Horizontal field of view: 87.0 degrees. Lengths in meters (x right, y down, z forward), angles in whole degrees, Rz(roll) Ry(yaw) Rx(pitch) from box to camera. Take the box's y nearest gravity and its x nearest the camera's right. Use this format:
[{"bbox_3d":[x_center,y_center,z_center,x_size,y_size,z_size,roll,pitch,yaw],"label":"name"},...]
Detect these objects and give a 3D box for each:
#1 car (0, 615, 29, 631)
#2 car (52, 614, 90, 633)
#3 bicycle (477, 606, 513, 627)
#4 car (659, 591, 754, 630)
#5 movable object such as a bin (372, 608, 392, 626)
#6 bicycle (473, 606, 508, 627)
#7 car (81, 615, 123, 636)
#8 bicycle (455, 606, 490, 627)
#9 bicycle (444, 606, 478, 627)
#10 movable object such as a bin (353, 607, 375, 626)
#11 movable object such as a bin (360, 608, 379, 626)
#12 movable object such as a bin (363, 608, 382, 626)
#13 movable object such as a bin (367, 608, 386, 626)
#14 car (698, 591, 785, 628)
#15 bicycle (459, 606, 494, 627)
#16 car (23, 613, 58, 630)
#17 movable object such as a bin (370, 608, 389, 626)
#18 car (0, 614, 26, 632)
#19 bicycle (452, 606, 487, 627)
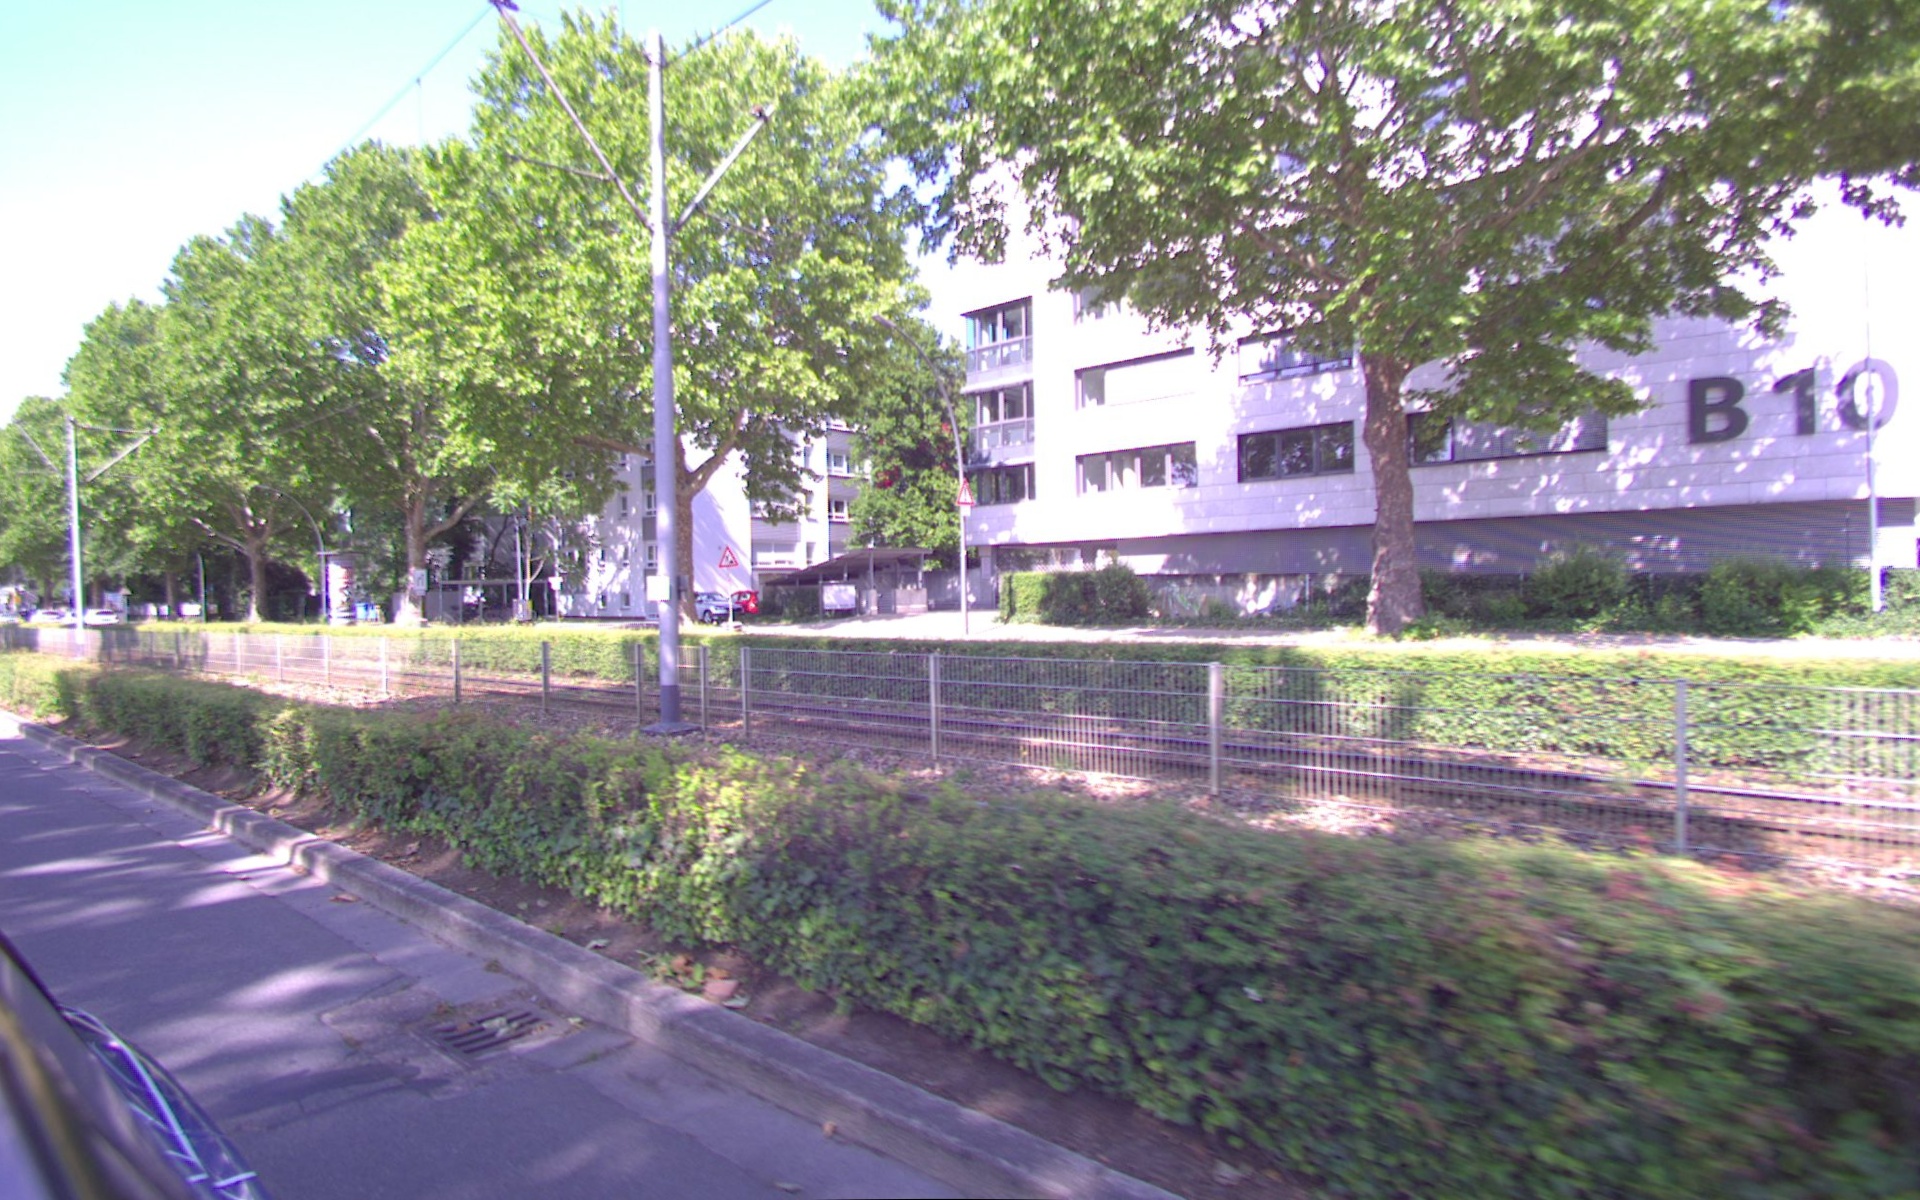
[{"bbox_3d":[-92.956,2.280,99.429,3.889,1.424,1.680,-1,3,40],"label":"car"},{"bbox_3d":[-74.515,1.981,84.815,3.996,1.464,1.833,-1,1,40],"label":"car"},{"bbox_3d":[-25.813,0.905,56.185,0.421,1.111,1.748,-1,1,39],"label":"bicycle"},{"bbox_3d":[-10.971,0.460,43.607,4.345,1.561,1.725,-1,1,40],"label":"car"},{"bbox_3d":[-35.714,1.048,62.534,0.545,1.044,0.887,-1,1,39],"label":"movable object such as a bin"},{"bbox_3d":[-26.199,0.911,56.499,0.421,1.111,1.748,-1,1,39],"label":"bicycle"},{"bbox_3d":[-63.956,1.917,75.423,3.909,1.502,1.797,-1,-2,40],"label":"car"},{"bbox_3d":[-27.727,0.939,57.604,0.421,1.111,1.748,-1,1,39],"label":"bicycle"},{"bbox_3d":[-28.888,0.960,58.627,0.421,1.111,1.748,-1,1,39],"label":"bicycle"},{"bbox_3d":[-38.063,1.060,64.643,1.098,1.198,0.887,-1,1,40],"label":"movable object such as a bin"},{"bbox_3d":[-37.399,1.077,64.091,0.545,1.044,0.887,-1,1,39],"label":"movable object such as a bin"},{"bbox_3d":[-36.990,1.070,63.699,0.545,1.044,0.887,-1,1,39],"label":"movable object such as a bin"},{"bbox_3d":[-36.521,1.062,63.315,0.545,1.044,0.887,-1,1,39],"label":"movable object such as a bin"},{"bbox_3d":[-9.921,0.439,45.827,3.996,1.561,1.725,-1,1,40],"label":"car"},{"bbox_3d":[-27.395,0.934,57.317,0.421,1.111,1.748,-1,1,39],"label":"bicycle"},{"bbox_3d":[-83.619,1.981,92.011,3.996,1.464,1.837,-1,1,40],"label":"car"},{"bbox_3d":[-36.095,1.054,62.944,0.545,1.044,0.887,-1,1,39],"label":"movable object such as a bin"},{"bbox_3d":[-80.467,1.945,85.415,3.996,1.464,1.837,-1,1,40],"label":"car"},{"bbox_3d":[-28.059,0.945,57.926,0.421,1.111,1.748,-1,1,39],"label":"bicycle"}]
